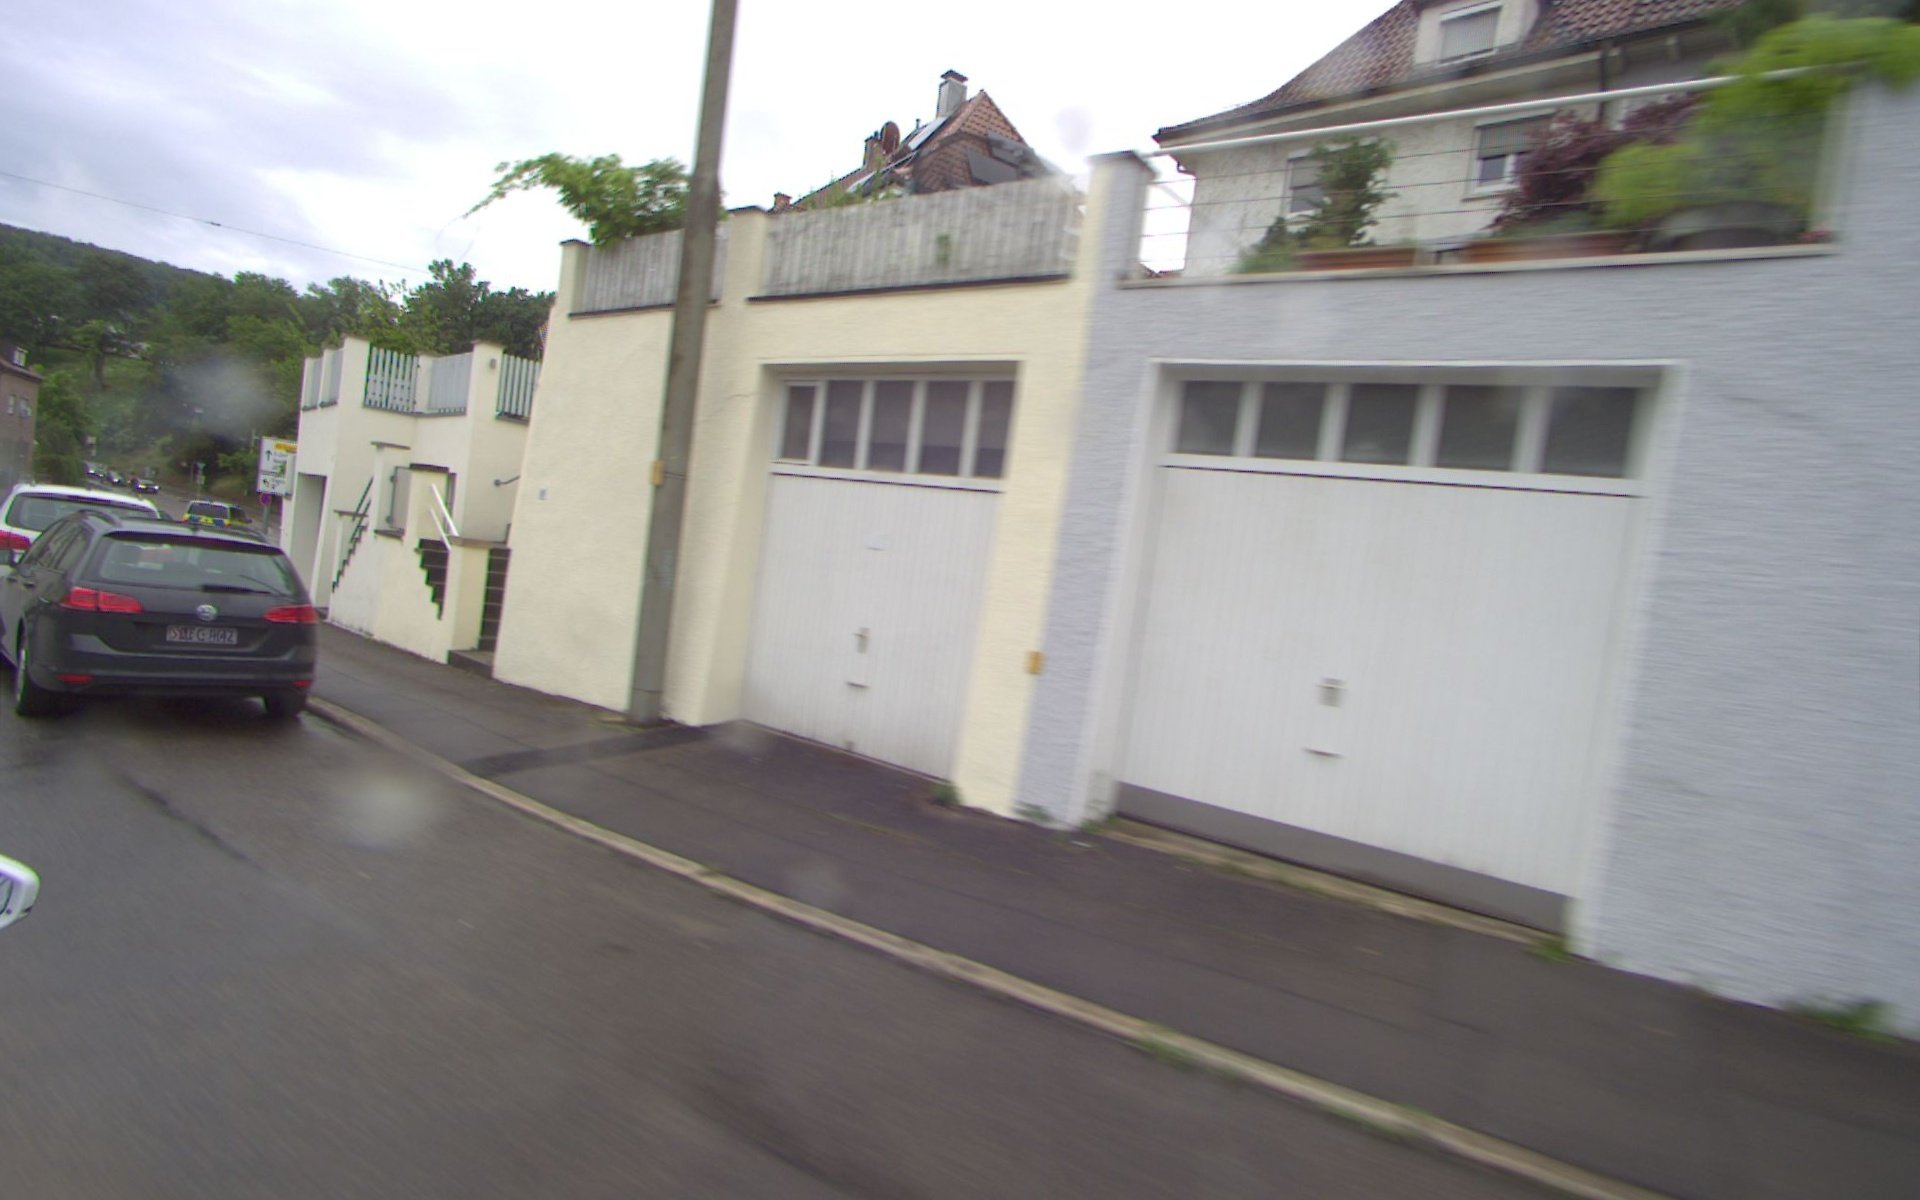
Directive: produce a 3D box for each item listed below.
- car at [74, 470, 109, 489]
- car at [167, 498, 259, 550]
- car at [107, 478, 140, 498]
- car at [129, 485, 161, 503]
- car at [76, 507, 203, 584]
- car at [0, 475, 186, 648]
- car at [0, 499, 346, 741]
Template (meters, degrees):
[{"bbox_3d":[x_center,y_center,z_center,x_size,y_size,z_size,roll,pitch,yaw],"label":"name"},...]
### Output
[{"bbox_3d":[-102.378,-14.218,118.565,3.930,1.572,1.741,12,6,28],"label":"car"},{"bbox_3d":[-34.833,-3.527,47.046,2.286,1.963,4.300,8,0,-23],"label":"car"},{"bbox_3d":[-96.278,-12.872,115.757,3.932,1.572,1.741,12,6,31],"label":"car"},{"bbox_3d":[-91.200,-11.873,112.515,3.936,1.572,1.739,9,5,35],"label":"car"},{"bbox_3d":[-20.331,-1.350,25.120,1.777,1.514,4.666,8,-1,-32],"label":"car"},{"bbox_3d":[-10.873,-0.534,12.230,1.798,1.669,4.158,7,-1,-43],"label":"car"},{"bbox_3d":[-6.767,0.071,8.313,4.144,1.501,1.676,6,-2,42],"label":"car"}]
